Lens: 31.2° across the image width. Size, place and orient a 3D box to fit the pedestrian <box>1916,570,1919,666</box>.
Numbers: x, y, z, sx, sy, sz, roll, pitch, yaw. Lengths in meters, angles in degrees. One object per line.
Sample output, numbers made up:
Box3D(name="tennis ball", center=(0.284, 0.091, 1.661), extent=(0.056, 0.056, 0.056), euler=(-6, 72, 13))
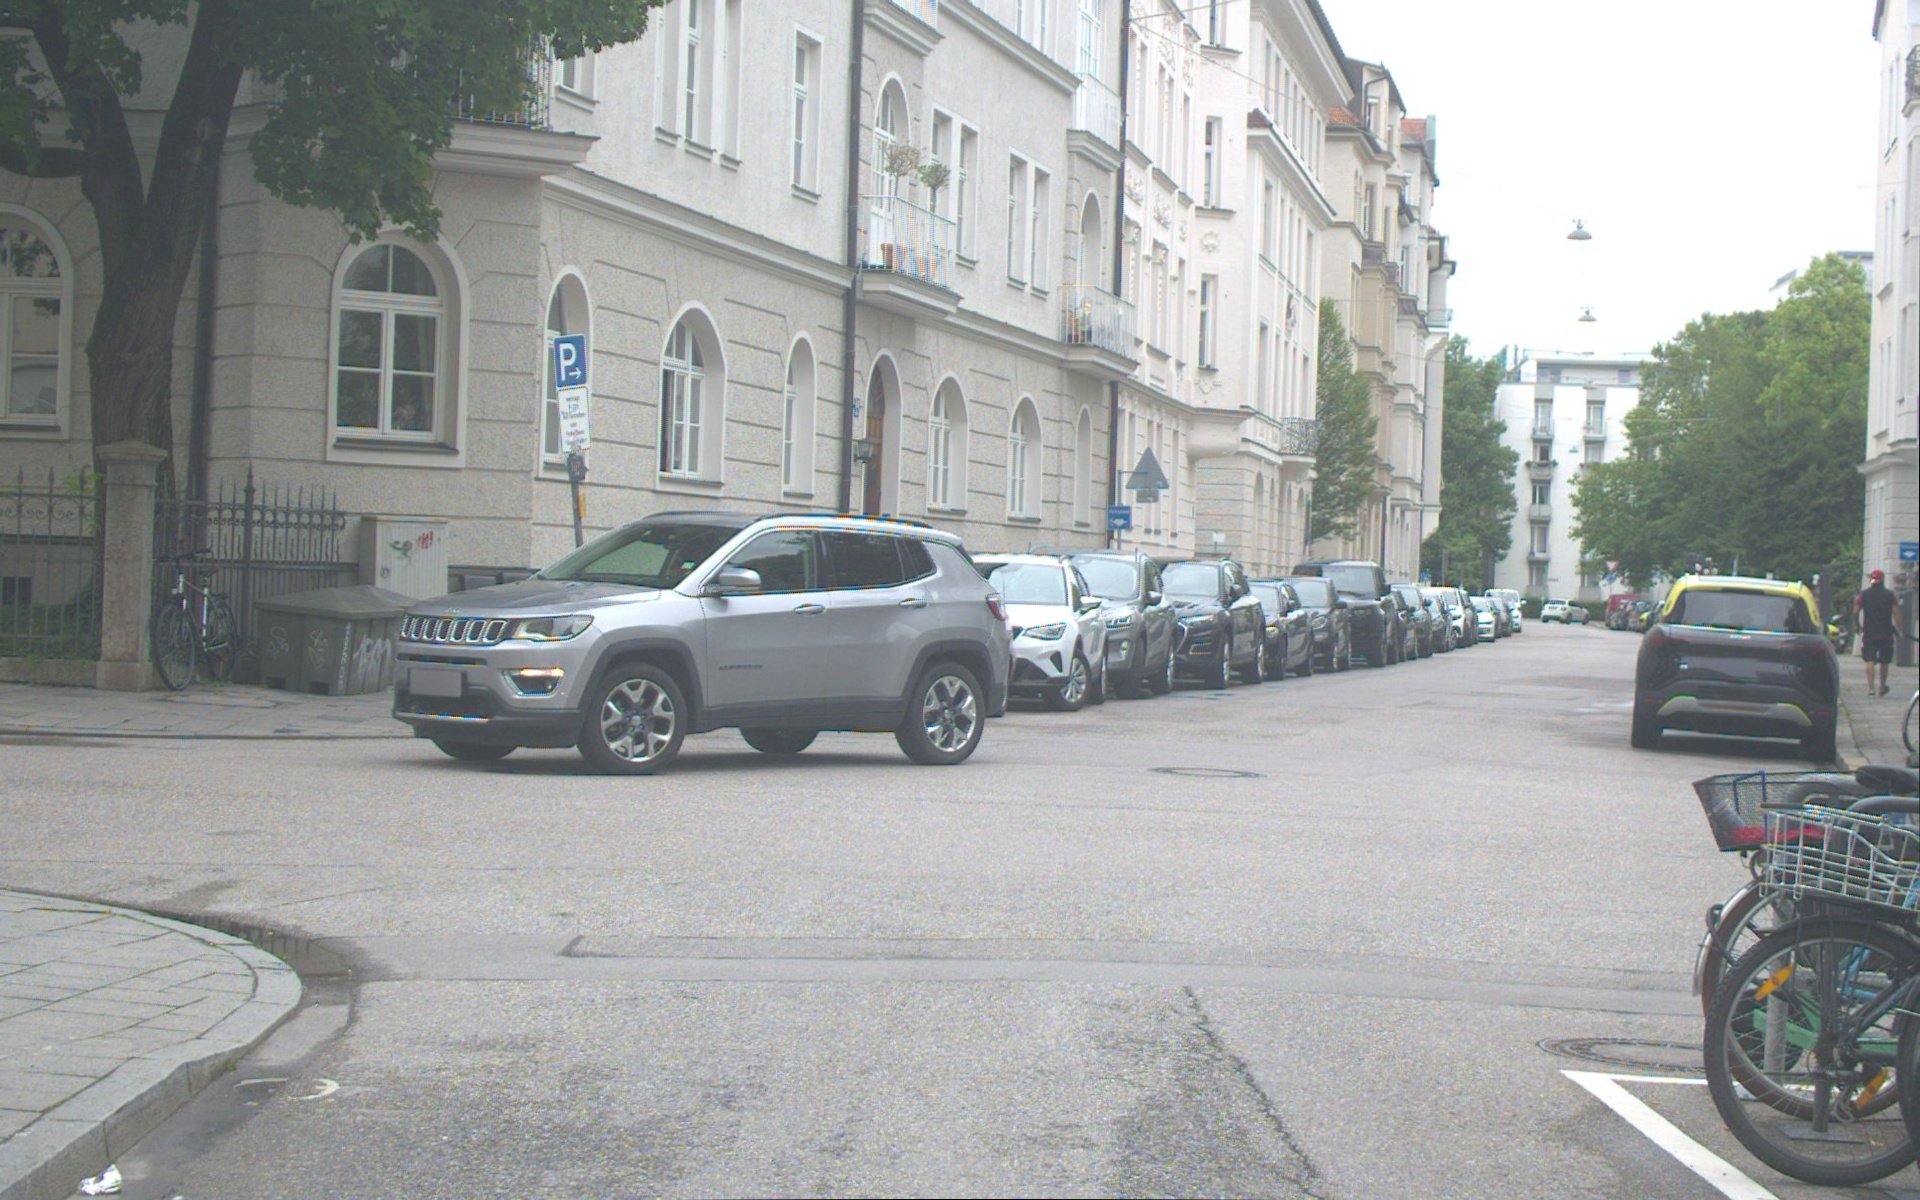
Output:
Box3D(name="pedestrian", center=(18.773, 0.357, 65.829), extent=(0.779, 1.845, 0.858), euler=(2, 1, 20))

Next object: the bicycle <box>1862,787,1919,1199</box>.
Box3D(name="bicycle", center=(2.901, 0.991, 7.465), extent=(1.740, 1.076, 0.452), euler=(2, 2, -4))

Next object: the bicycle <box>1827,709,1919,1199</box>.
Box3D(name="bicycle", center=(2.875, 0.900, 8.247), extent=(1.450, 1.203, 0.395), euler=(2, 1, -8))

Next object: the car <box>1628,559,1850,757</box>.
Box3D(name="car", center=(7.411, 0.502, 32.774), extent=(1.821, 1.630, 4.286), euler=(4, 1, 13))

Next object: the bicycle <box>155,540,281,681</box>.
Box3D(name="bicycle", center=(-6.080, 0.066, 28.237), extent=(0.493, 1.049, 1.827), euler=(2, 3, 4))

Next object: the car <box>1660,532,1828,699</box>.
Box3D(name="car", center=(9.825, 0.173, 43.169), extent=(1.821, 1.864, 4.286), euler=(4, 1, 13))

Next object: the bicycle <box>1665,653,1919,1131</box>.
Box3D(name="bicycle", center=(2.794, 0.828, 9.706), extent=(1.457, 1.281, 0.445), euler=(3, 1, 0))

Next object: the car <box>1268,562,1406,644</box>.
Box3D(name="car", center=(6.666, 0.033, 60.475), extent=(1.908, 1.324, 3.998), euler=(2, 1, 13))

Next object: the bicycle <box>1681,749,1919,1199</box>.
Box3D(name="bicycle", center=(2.625, 0.950, 8.696), extent=(1.450, 1.066, 0.463), euler=(2, 1, -8))

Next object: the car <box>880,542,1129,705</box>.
Box3D(name="car", center=(0.519, 0.202, 34.672), extent=(1.994, 1.468, 4.217), euler=(2, 1, 7))

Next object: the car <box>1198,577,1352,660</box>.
Box3D(name="car", center=(5.166, 0.273, 55.900), extent=(1.908, 1.218, 3.998), euler=(2, 1, 13))

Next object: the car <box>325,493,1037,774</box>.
Box3D(name="car", center=(-1.703, 0.196, 22.080), extent=(1.962, 1.602, 4.297), euler=(3, 1, 44))

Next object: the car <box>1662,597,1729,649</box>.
Box3D(name="car", center=(21.417, 0.656, 100.143), extent=(1.730, 1.413, 3.850), euler=(2, 1, 10))

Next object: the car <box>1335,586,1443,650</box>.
Box3D(name="car", center=(9.025, 0.354, 72.065), extent=(1.907, 1.218, 3.998), euler=(2, 1, 12))

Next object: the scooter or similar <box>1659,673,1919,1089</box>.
Box3D(name="scooter or similar", center=(2.878, 0.859, 10.504), extent=(1.352, 1.206, 0.417), euler=(2, 1, 1))

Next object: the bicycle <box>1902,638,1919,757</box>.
Box3D(name="bicycle", center=(8.529, 0.841, 28.730), extent=(0.539, 0.995, 1.756), euler=(-1, 1, -11))

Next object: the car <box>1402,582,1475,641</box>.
Box3D(name="car", center=(12.444, 0.283, 89.260), extent=(1.734, 1.415, 3.998), euler=(2, 1, 9))

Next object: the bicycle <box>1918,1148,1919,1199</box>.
Box3D(name="bicycle", center=(2.853, 0.993, 7.050), extent=(1.674, 1.076, 0.336), euler=(2, 2, -4))

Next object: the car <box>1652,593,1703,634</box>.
Box3D(name="car", center=(30.206, 0.560, 144.782), extent=(1.951, 1.646, 3.998), euler=(1, 0, 10))

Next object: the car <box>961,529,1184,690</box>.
Box3D(name="car", center=(1.343, 0.084, 39.228), extent=(1.994, 1.670, 4.011), euler=(2, 1, 9))

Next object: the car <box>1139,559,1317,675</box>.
Box3D(name="car", center=(3.957, 0.226, 50.228), extent=(1.927, 1.541, 3.998), euler=(3, 1, 13))

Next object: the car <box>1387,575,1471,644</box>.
Box3D(name="car", center=(11.409, 0.204, 83.390), extent=(1.821, 1.568, 3.998), euler=(2, 1, 10))

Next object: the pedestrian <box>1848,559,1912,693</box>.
Box3D(name="pedestrian", center=(13.034, 0.356, 48.745), extent=(0.778, 1.845, 1.022), euler=(2, 1, 13))

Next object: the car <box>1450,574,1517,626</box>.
Box3D(name="car", center=(16.757, -0.018, 109.878), extent=(1.994, 1.568, 3.998), euler=(2, 1, 10))

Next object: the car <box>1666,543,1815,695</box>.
Box3D(name="car", center=(10.947, 0.244, 48.292), extent=(1.821, 1.917, 4.181), euler=(4, 1, 13))

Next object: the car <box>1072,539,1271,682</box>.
Box3D(name="car", center=(2.765, 0.109, 44.074), extent=(1.994, 1.670, 4.287), euler=(2, 1, 10))
